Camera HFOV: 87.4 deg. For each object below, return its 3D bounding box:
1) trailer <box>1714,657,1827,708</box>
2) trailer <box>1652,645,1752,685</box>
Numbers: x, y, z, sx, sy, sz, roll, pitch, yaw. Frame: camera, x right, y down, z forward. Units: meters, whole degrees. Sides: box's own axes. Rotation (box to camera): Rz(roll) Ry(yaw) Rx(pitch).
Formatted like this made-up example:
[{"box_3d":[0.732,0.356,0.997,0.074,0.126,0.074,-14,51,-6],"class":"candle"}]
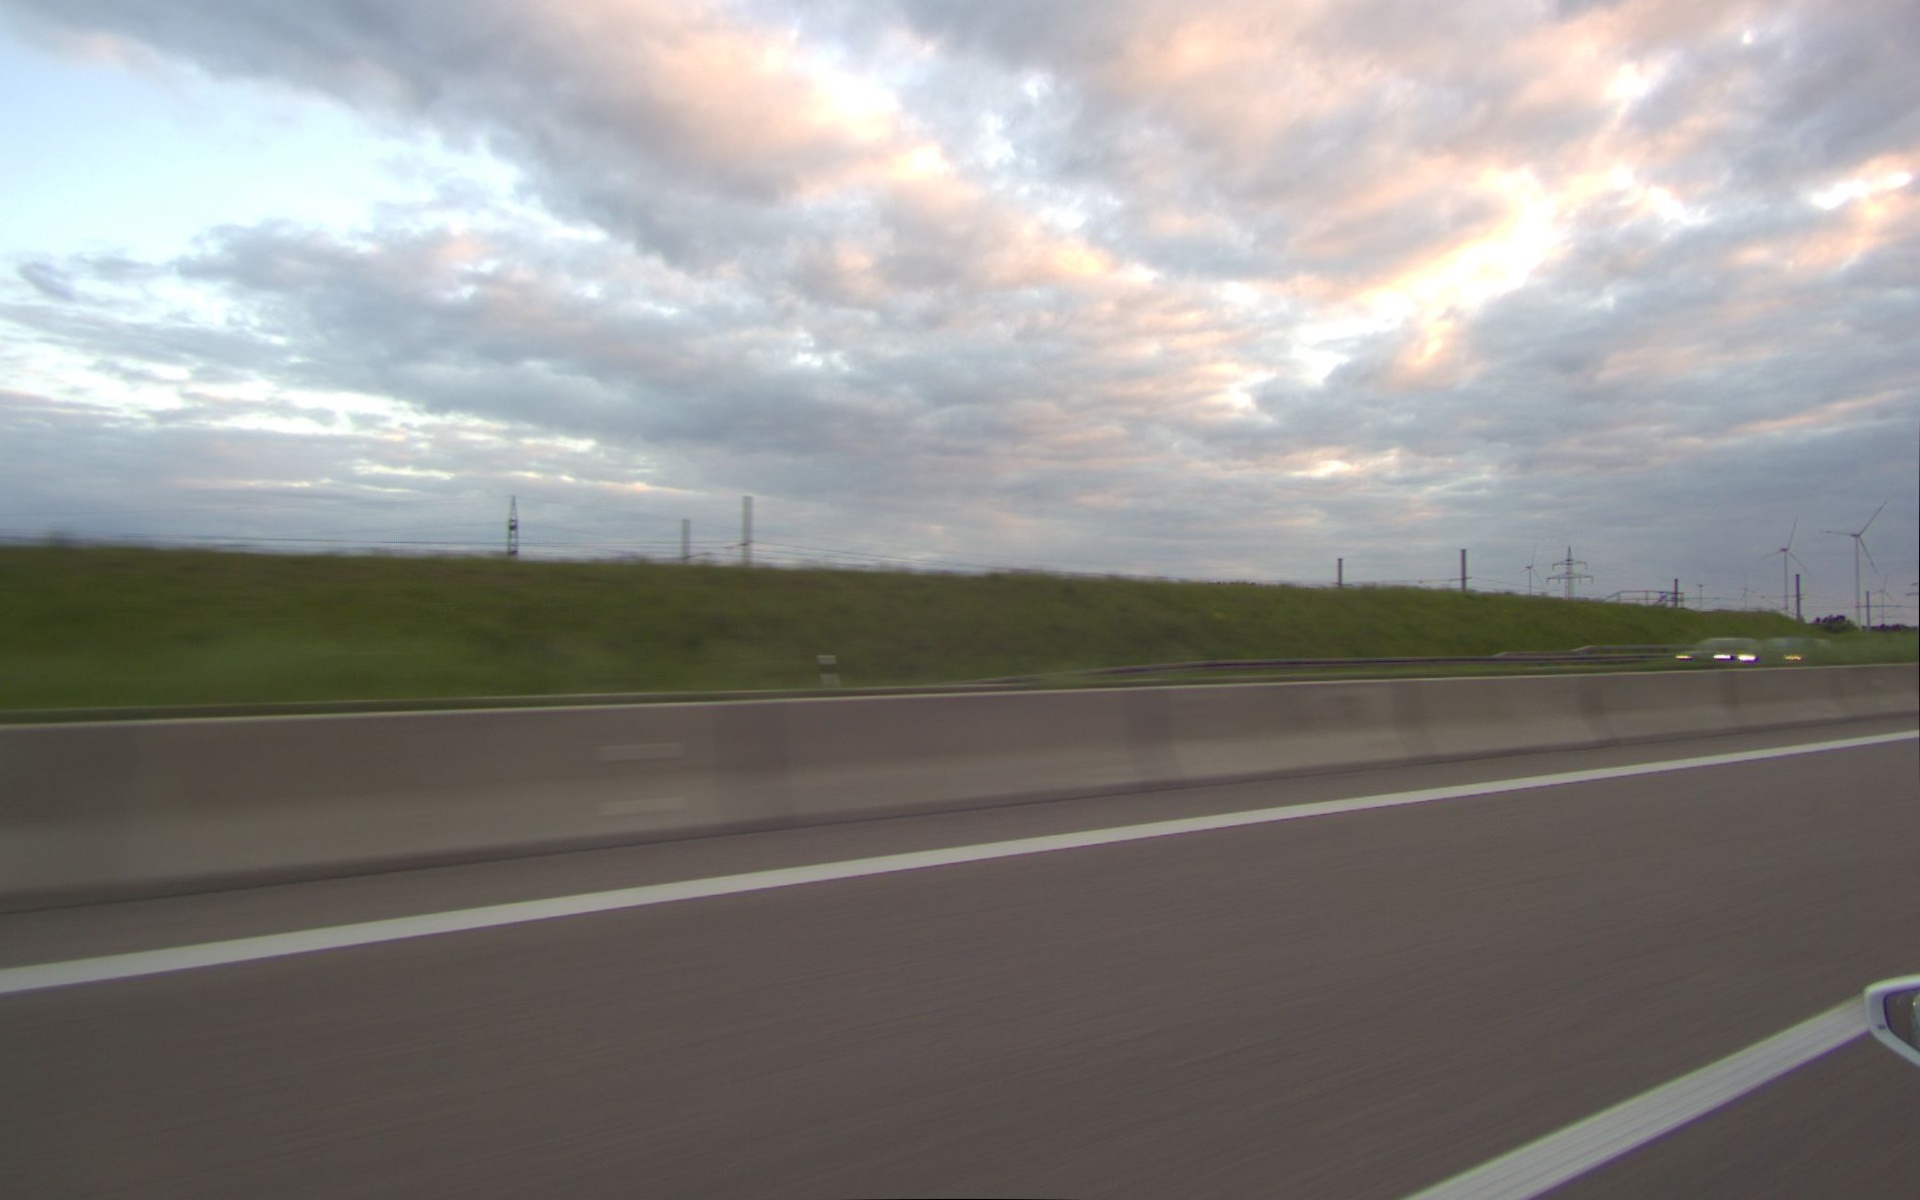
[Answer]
[{"box_3d":[27.292,2.718,33.799,3.883,1.572,1.677,2,-2,-30],"class":"trailer"},{"box_3d":[29.081,2.521,39.360,3.952,1.483,1.710,2,-2,-29],"class":"trailer"}]
